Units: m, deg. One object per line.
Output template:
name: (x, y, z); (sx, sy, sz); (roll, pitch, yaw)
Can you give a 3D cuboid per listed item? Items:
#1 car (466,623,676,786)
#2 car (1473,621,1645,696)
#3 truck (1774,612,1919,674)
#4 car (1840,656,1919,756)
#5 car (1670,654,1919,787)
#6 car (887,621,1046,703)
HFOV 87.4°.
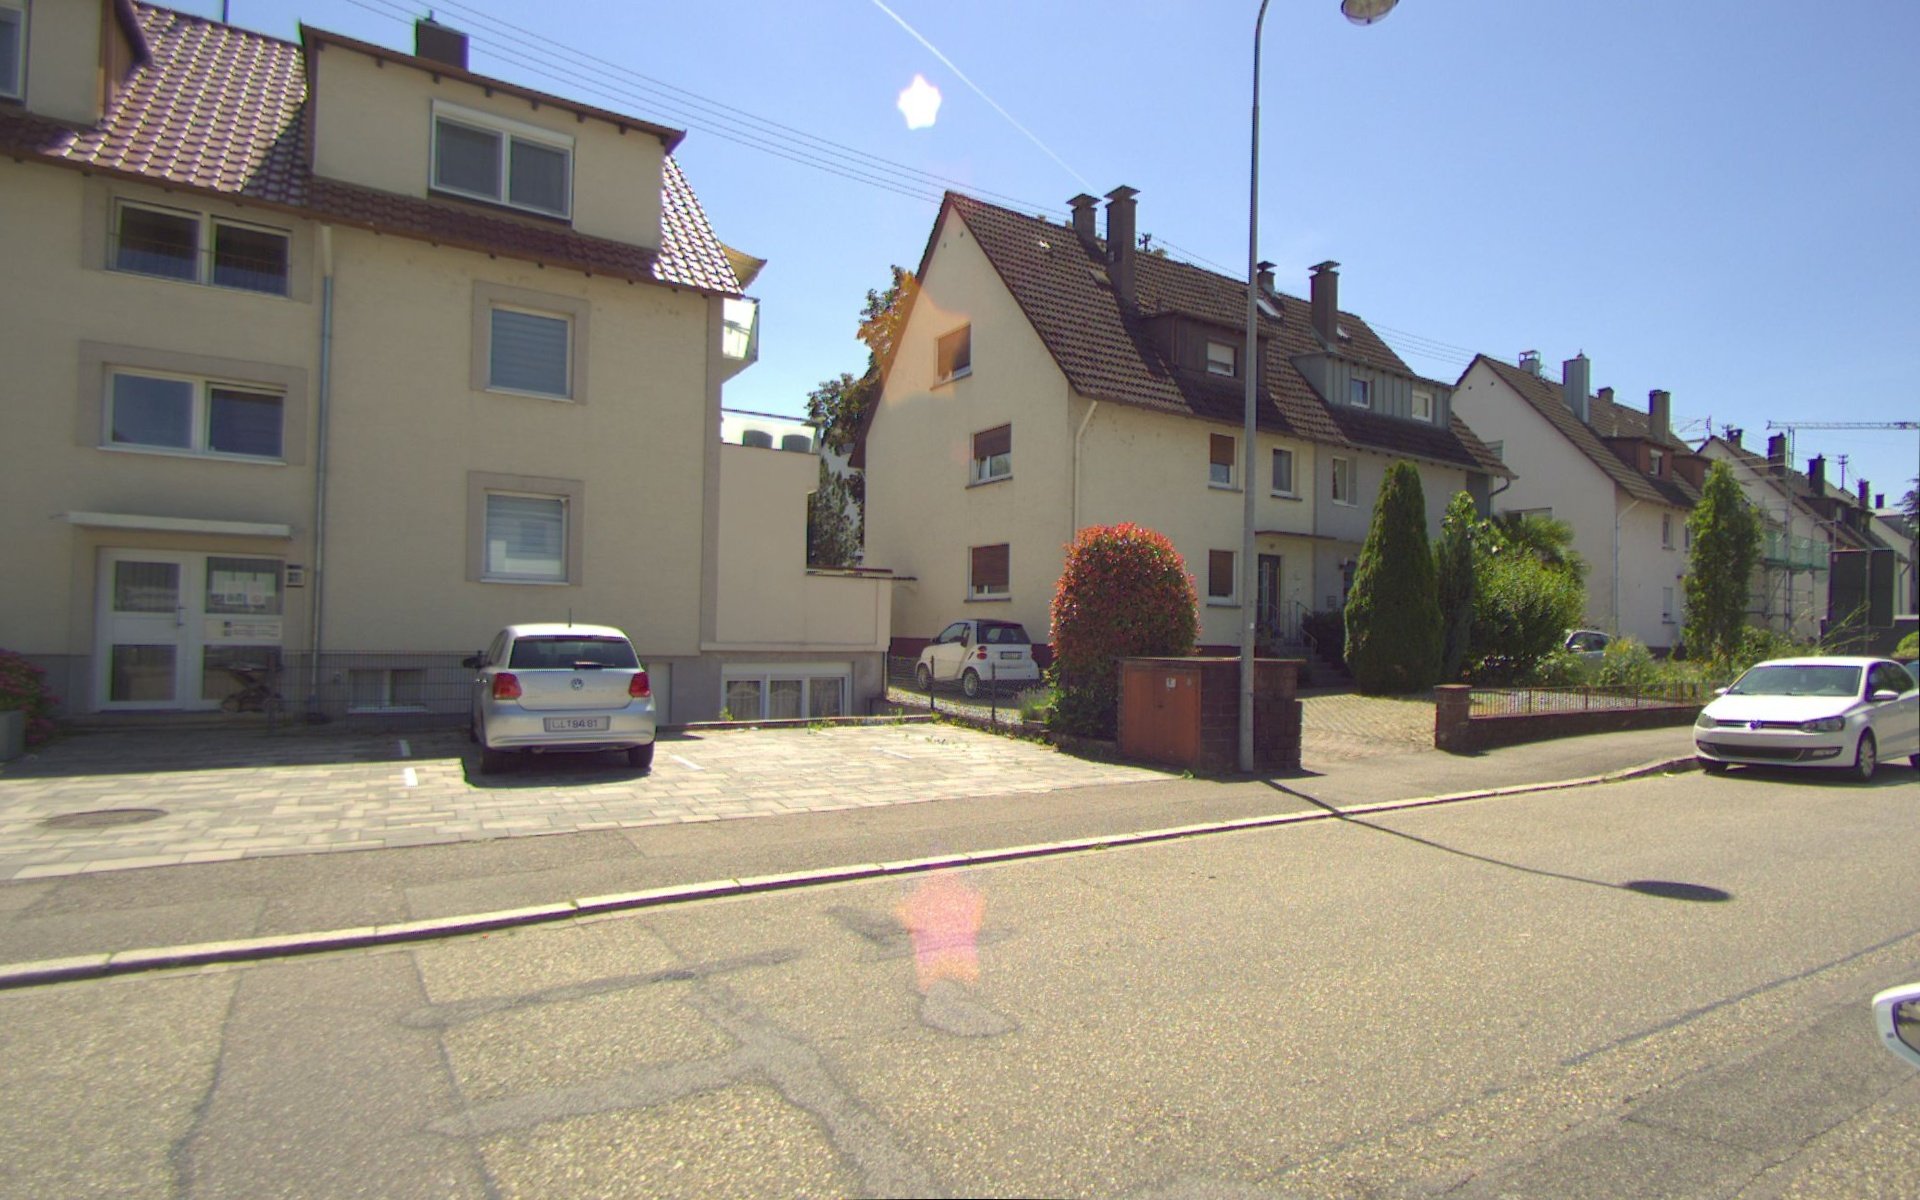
car: (-4.673, 1.027, 11.637); (1.823, 1.460, 4.452); (2, -1, -27)
car: (14.320, 1.413, 23.941); (4.316, 1.527, 1.759); (5, -2, -33)
truck: (29.969, 1.453, 33.788); (1.531, 1.963, 3.744); (1, -3, -35)
car: (15.833, 1.607, 15.859); (4.315, 1.457, 1.760); (2, -4, -33)
car: (10.924, 1.443, 12.887); (3.898, 1.442, 1.570); (1, -4, -33)
car: (0.047, 1.246, 21.531); (1.629, 1.556, 3.762); (1, -1, -33)
